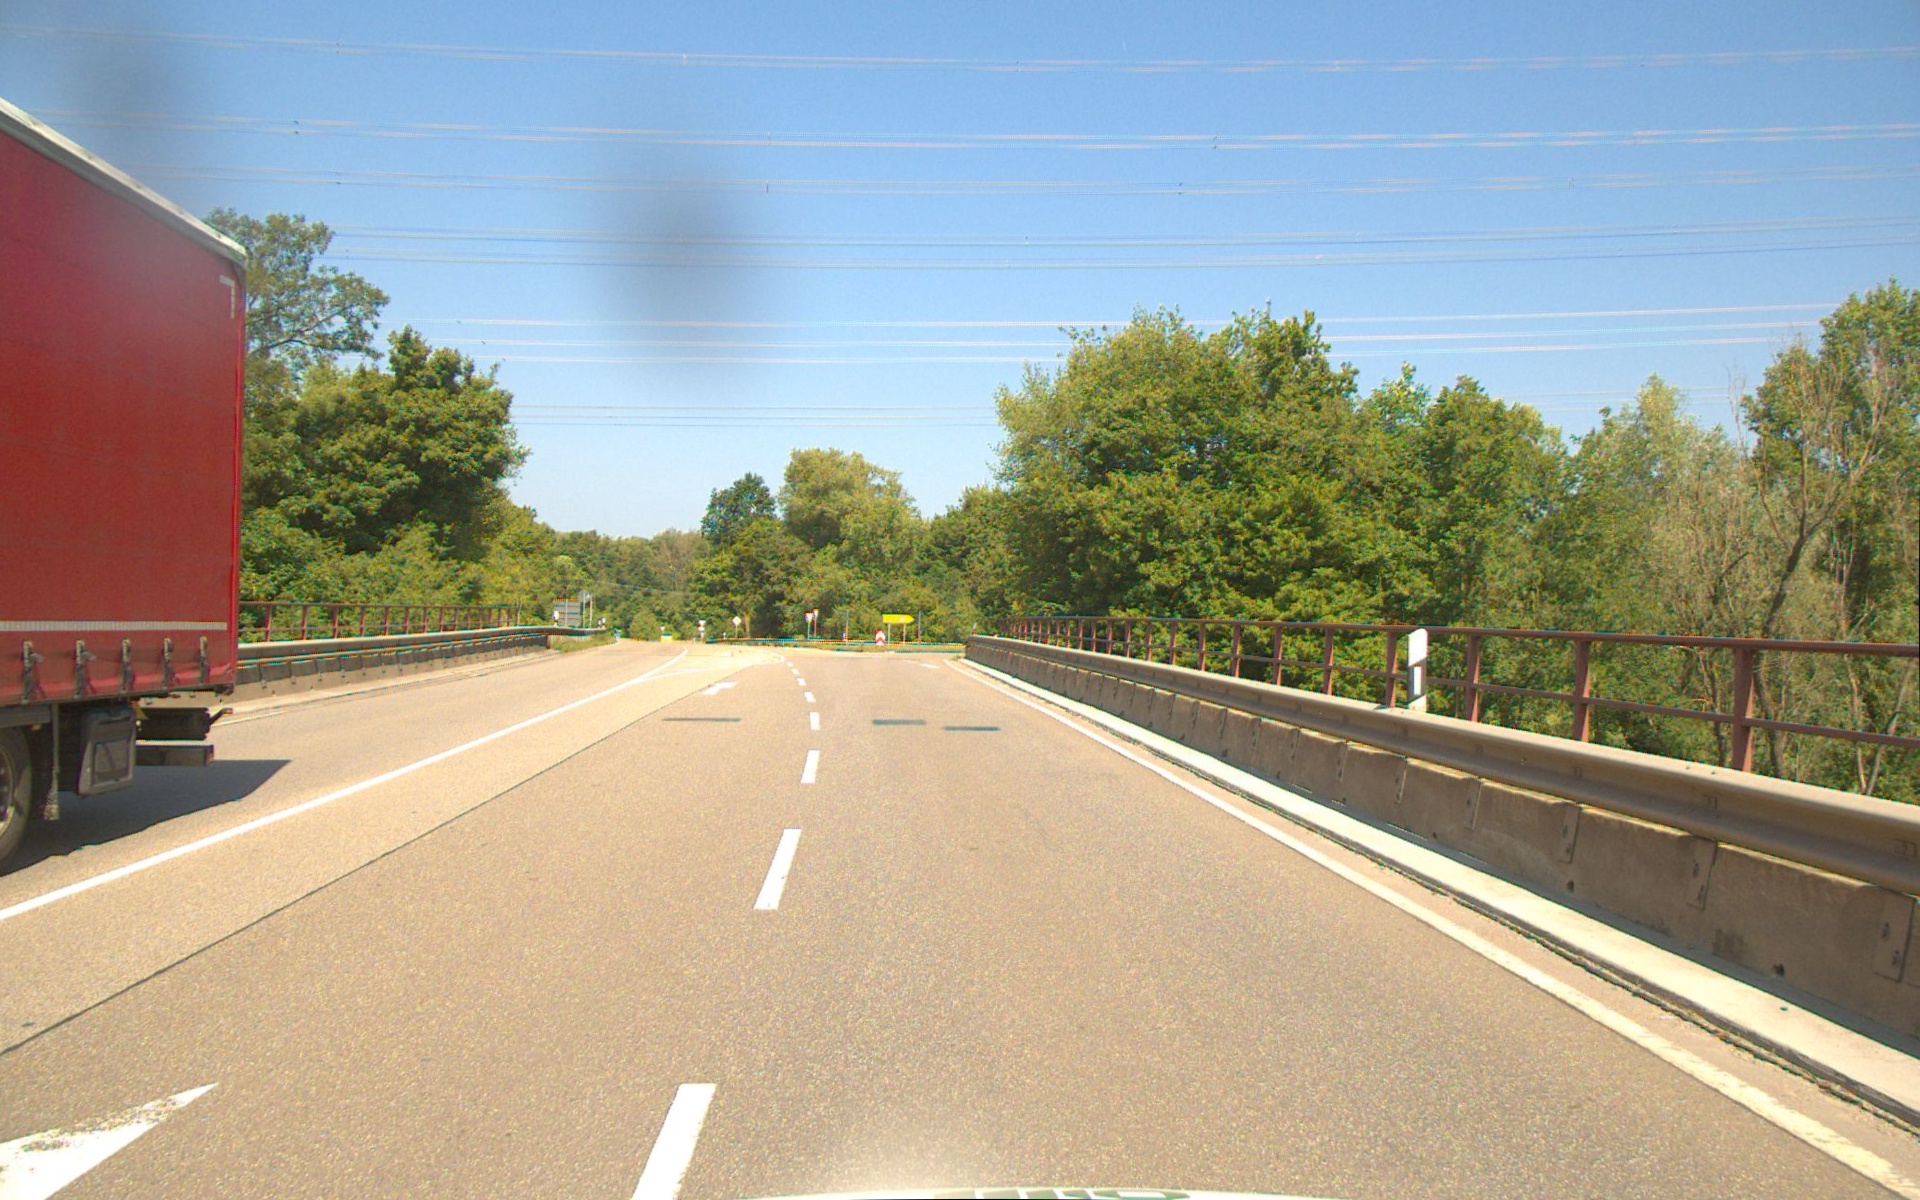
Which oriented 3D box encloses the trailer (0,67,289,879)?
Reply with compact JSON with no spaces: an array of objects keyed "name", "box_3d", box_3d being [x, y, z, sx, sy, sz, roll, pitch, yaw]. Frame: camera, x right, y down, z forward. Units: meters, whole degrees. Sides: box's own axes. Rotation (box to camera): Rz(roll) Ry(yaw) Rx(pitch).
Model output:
[{"name":"trailer","box_3d":[-6.066,-0.654,5.494,2.713,4.133,14.189,0,0,-4]}]
